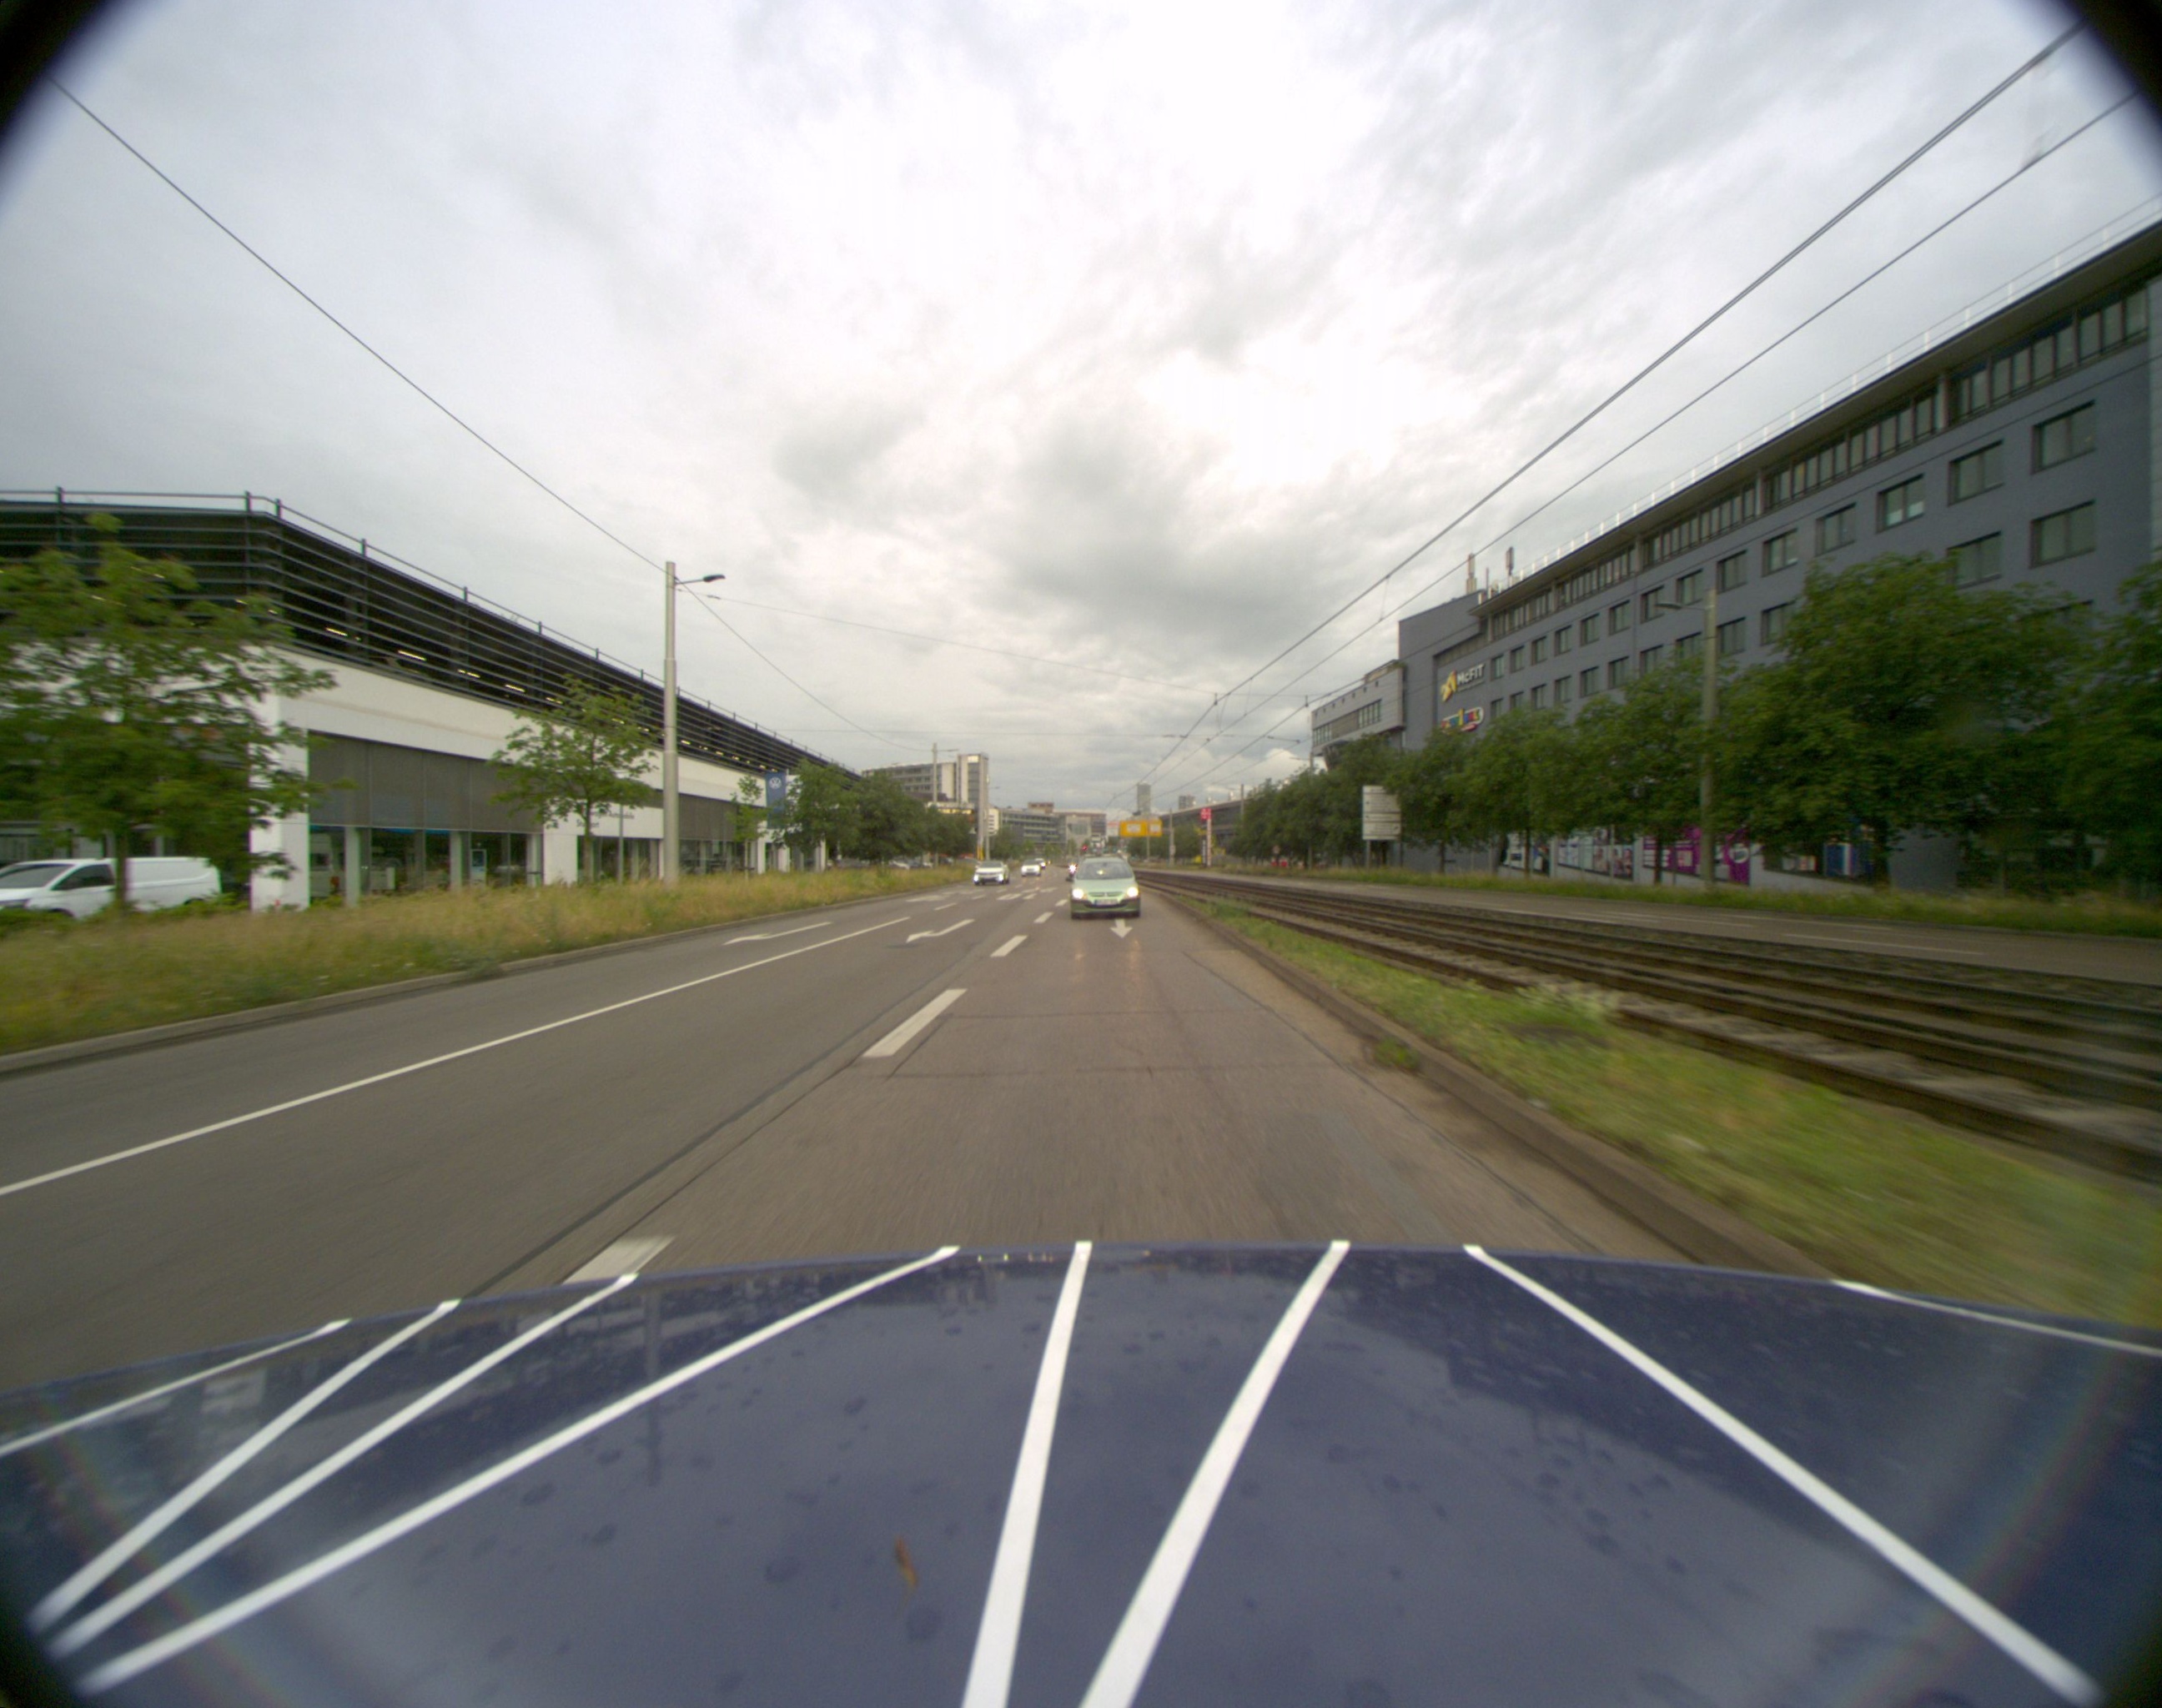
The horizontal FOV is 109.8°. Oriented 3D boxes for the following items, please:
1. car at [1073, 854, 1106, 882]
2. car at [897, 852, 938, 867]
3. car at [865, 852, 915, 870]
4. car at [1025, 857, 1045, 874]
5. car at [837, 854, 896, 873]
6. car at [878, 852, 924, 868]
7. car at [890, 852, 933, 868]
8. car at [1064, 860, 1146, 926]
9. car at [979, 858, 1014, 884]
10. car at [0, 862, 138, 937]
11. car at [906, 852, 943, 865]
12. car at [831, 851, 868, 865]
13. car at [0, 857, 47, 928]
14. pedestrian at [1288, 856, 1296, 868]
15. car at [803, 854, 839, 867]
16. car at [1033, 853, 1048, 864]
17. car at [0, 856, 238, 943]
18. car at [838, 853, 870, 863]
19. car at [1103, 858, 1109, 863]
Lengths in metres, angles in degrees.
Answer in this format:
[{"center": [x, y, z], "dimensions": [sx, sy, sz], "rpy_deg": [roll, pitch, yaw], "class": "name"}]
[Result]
[{"center": [0.460, 0.824, 45.422], "dimensions": [1.762, 1.535, 3.713], "rpy_deg": [-3, 0, -2], "class": "car"}, {"center": [-18.376, 0.642, 85.565], "dimensions": [4.108, 1.559, 1.794], "rpy_deg": [1, 1, -40], "class": "car"}, {"center": [-18.684, 0.682, 74.368], "dimensions": [4.363, 1.617, 1.851], "rpy_deg": [1, 1, -33], "class": "car"}, {"center": [-4.301, 1.066, 70.746], "dimensions": [1.819, 1.584, 3.835], "rpy_deg": [0, 0, -4], "class": "car"}, {"center": [-18.995, 0.827, 67.242], "dimensions": [4.634, 1.559, 1.847], "rpy_deg": [1, 1, -33], "class": "car"}, {"center": [-18.383, 0.663, 77.858], "dimensions": [4.198, 1.559, 1.794], "rpy_deg": [1, 1, -38], "class": "car"}, {"center": [-18.194, 0.654, 81.531], "dimensions": [4.199, 1.559, 1.794], "rpy_deg": [1, 1, -44], "class": "car"}, {"center": [0.534, 0.938, 20.058], "dimensions": [1.762, 1.489, 4.136], "rpy_deg": [-2, 0, -3], "class": "car"}, {"center": [-5.237, 1.026, 47.487], "dimensions": [1.879, 1.485, 3.836], "rpy_deg": [-1, 0, -2], "class": "car"}, {"center": [-28.401, 1.214, 20.047], "dimensions": [1.999, 1.889, 3.999], "rpy_deg": [-3, 0, -2], "class": "car"}, {"center": [-19.563, 0.541, 94.930], "dimensions": [4.108, 1.457, 1.743], "rpy_deg": [1, 1, -36], "class": "car"}, {"center": [-28.703, 0.507, 94.138], "dimensions": [3.997, 1.499, 1.785], "rpy_deg": [-3, 0, -1], "class": "car"}, {"center": [-31.739, 1.146, 20.290], "dimensions": [1.951, 2.038, 4.704], "rpy_deg": [-3, 0, -5], "class": "car"}, {"center": [28.469, 1.101, 102.470], "dimensions": [0.810, 1.669, 0.580], "rpy_deg": [0, 0, -14], "class": "pedestrian"}, {"center": [-31.530, 0.826, 92.132], "dimensions": [3.827, 1.578, 1.638], "rpy_deg": [0, 0, -4], "class": "car"}, {"center": [-6.324, 0.717, 118.530], "dimensions": [1.890, 1.584, 3.982], "rpy_deg": [-1, 0, 2], "class": "car"}, {"center": [-25.813, 1.072, 19.851], "dimensions": [2.049, 2.002, 5.089], "rpy_deg": [-1, 0, -3], "class": "car"}, {"center": [-32.899, 0.582, 110.200], "dimensions": [3.998, 1.528, 1.904], "rpy_deg": [0, 0, -4], "class": "car"}, {"center": [8.155, 2.036, 244.541], "dimensions": [1.602, 1.529, 2.948], "rpy_deg": [2, 3, -2], "class": "car"}]
